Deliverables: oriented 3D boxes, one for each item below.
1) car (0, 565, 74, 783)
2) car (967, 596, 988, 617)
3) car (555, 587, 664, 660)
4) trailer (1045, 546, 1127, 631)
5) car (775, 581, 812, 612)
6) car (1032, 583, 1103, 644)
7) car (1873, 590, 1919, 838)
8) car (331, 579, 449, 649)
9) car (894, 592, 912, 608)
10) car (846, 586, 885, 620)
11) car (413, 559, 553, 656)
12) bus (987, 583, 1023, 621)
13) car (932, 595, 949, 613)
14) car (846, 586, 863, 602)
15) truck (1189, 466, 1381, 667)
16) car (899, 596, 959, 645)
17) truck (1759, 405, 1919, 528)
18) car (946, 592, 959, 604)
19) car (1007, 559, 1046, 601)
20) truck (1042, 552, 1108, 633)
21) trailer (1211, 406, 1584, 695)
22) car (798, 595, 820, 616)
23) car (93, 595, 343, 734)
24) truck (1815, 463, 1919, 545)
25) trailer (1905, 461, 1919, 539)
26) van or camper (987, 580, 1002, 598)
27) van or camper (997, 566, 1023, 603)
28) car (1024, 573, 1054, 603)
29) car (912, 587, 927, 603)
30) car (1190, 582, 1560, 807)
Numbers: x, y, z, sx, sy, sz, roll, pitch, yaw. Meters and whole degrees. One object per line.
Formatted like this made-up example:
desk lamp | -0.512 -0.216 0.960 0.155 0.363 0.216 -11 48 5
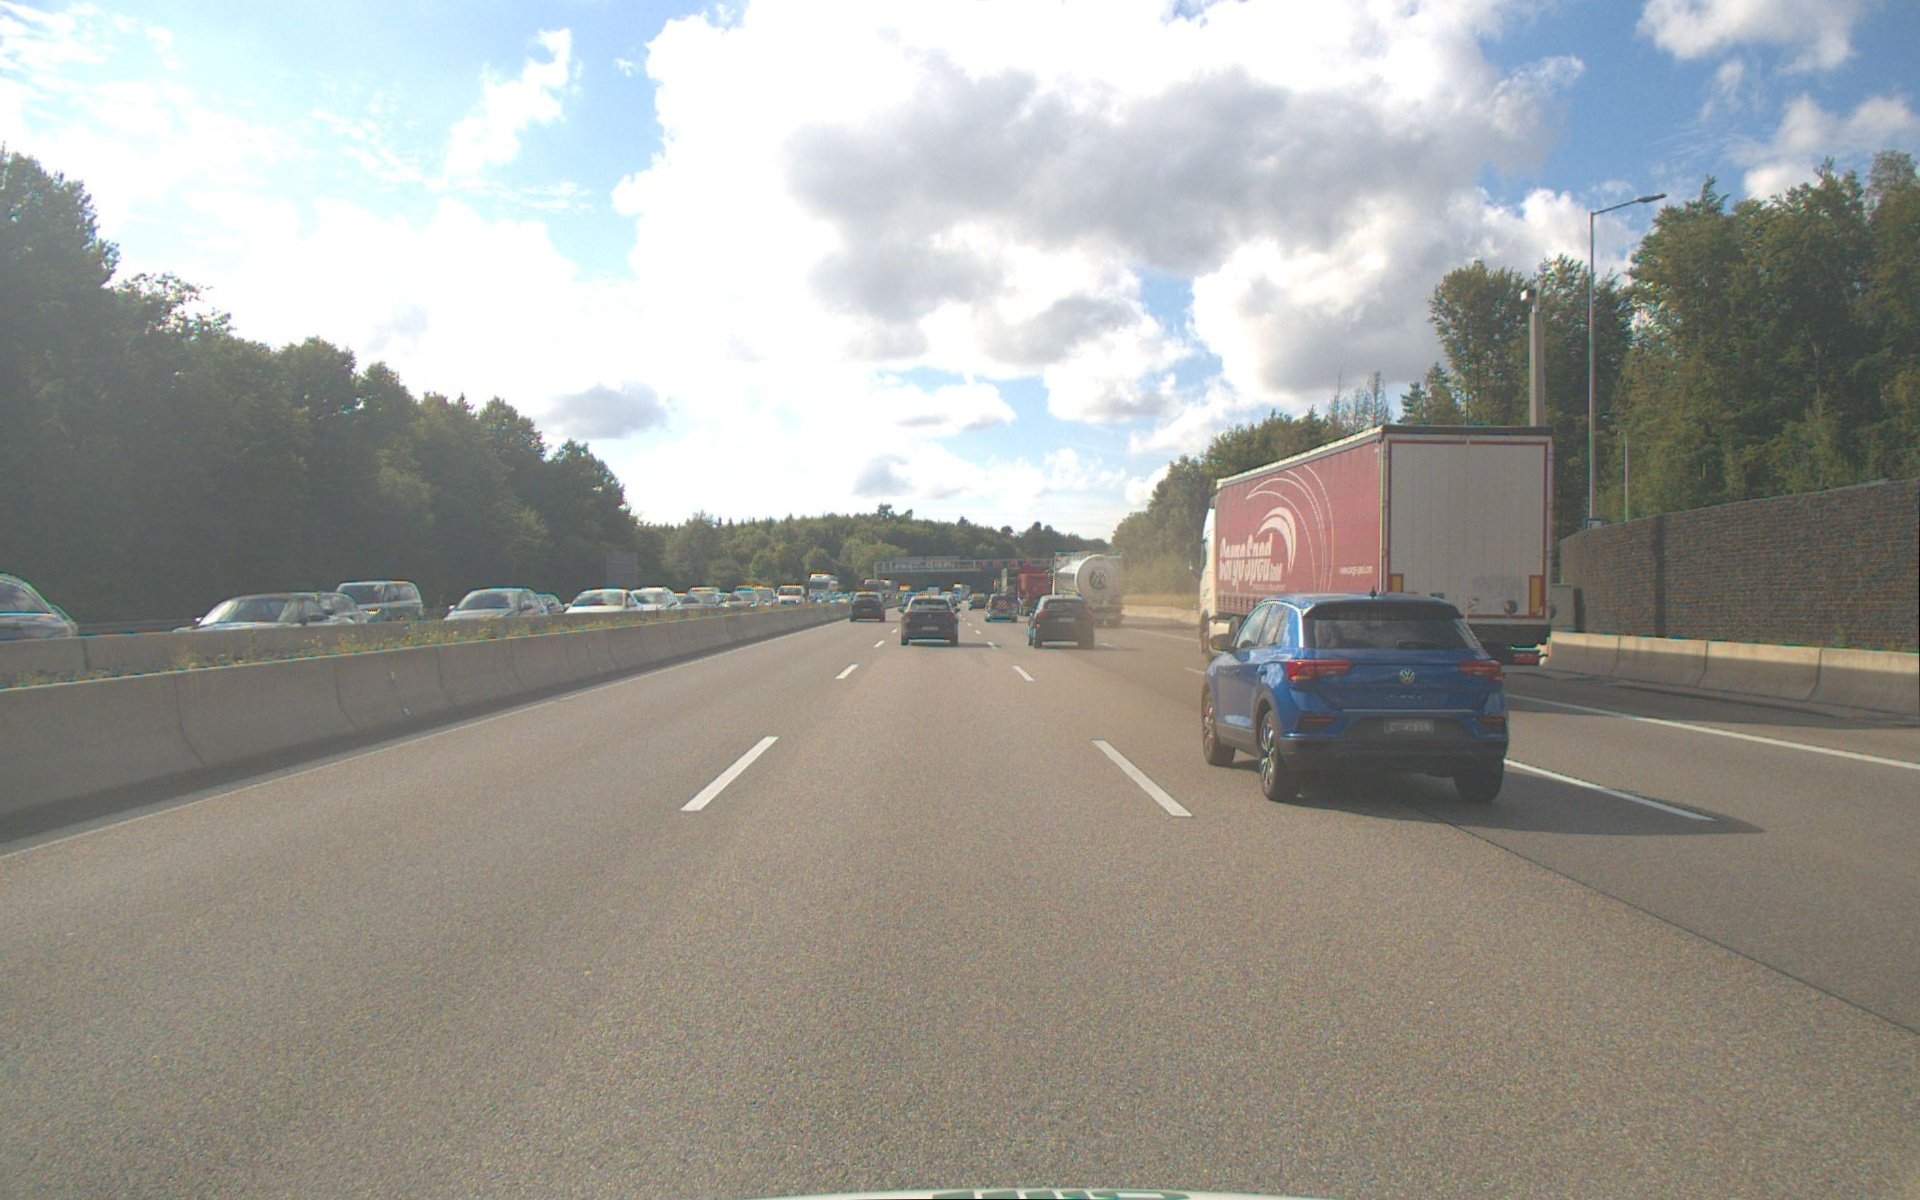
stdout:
car | -10.005 0.660 14.775 1.952 2.049 3.999 1 -2 0
car | 1.775 0.686 166.634 1.953 2.049 3.999 1 -1 -1
car | -9.631 0.683 45.832 1.917 1.897 4.550 1 -2 1
trailer | 6.331 -0.435 85.186 2.974 4.086 12.240 0 -1 -1
car | -11.250 -0.204 112.102 1.952 1.897 4.550 1 -2 1
car | 3.133 0.405 48.742 1.762 1.673 3.999 1 -1 -1
car | 6.862 0.735 8.656 1.680 1.537 4.300 1 1 -2
car | -17.732 0.493 51.728 1.952 2.049 4.853 1 -2 0
car | -6.759 0.051 196.519 2.111 1.807 3.999 1 -1 -1
car | -5.164 0.138 91.084 1.953 1.807 4.000 0 0 -1
car | -10.701 0.225 37.395 1.952 2.049 3.999 1 -2 0
bus | 2.569 0.116 95.191 1.953 2.049 3.999 1 -2 -1
car | -2.301 0.460 194.758 1.953 2.049 3.998 -1 -2 -1
car | -14.309 -0.799 224.314 1.952 2.049 4.000 1 0 0
truck | 7.202 -0.613 37.520 3.018 4.135 6.067 1 -2 -1
car | -0.973 0.633 50.111 1.699 1.389 3.998 1 -1 -3
truck | 19.603 -2.806 35.915 1.952 2.049 5.407 1 -2 1
car | -0.970 -0.263 218.282 1.641 1.620 3.627 -1 0 -1
car | 5.271 -1.560 131.793 2.808 3.044 5.148 1 -2 0
truck | 6.254 -0.337 90.961 2.984 4.233 7.124 0 -1 -1
trailer | 7.335 -0.517 30.648 2.977 4.106 13.885 1 -2 -1
car | -16.079 0.613 176.535 1.953 2.049 3.999 1 -2 0
car | -10.685 0.919 24.169 1.781 1.825 3.999 1 -2 0
truck | 26.091 -2.641 46.146 2.173 2.049 3.996 -1 0 -5
trailer | 26.506 -2.650 41.738 2.159 2.049 4.969 -1 0 -5
van or camper | 4.973 -1.579 241.010 2.041 2.536 4.224 0 0 -1
van or camper | 4.754 -1.445 157.860 2.303 3.199 5.710 1 -2 0
car | 5.795 -0.872 121.683 1.953 2.049 3.998 1 -2 -1
car | -5.506 -0.703 225.169 1.954 2.049 3.997 1 0 -3
car | 3.224 0.680 13.868 1.885 1.568 4.644 0 -1 -1
